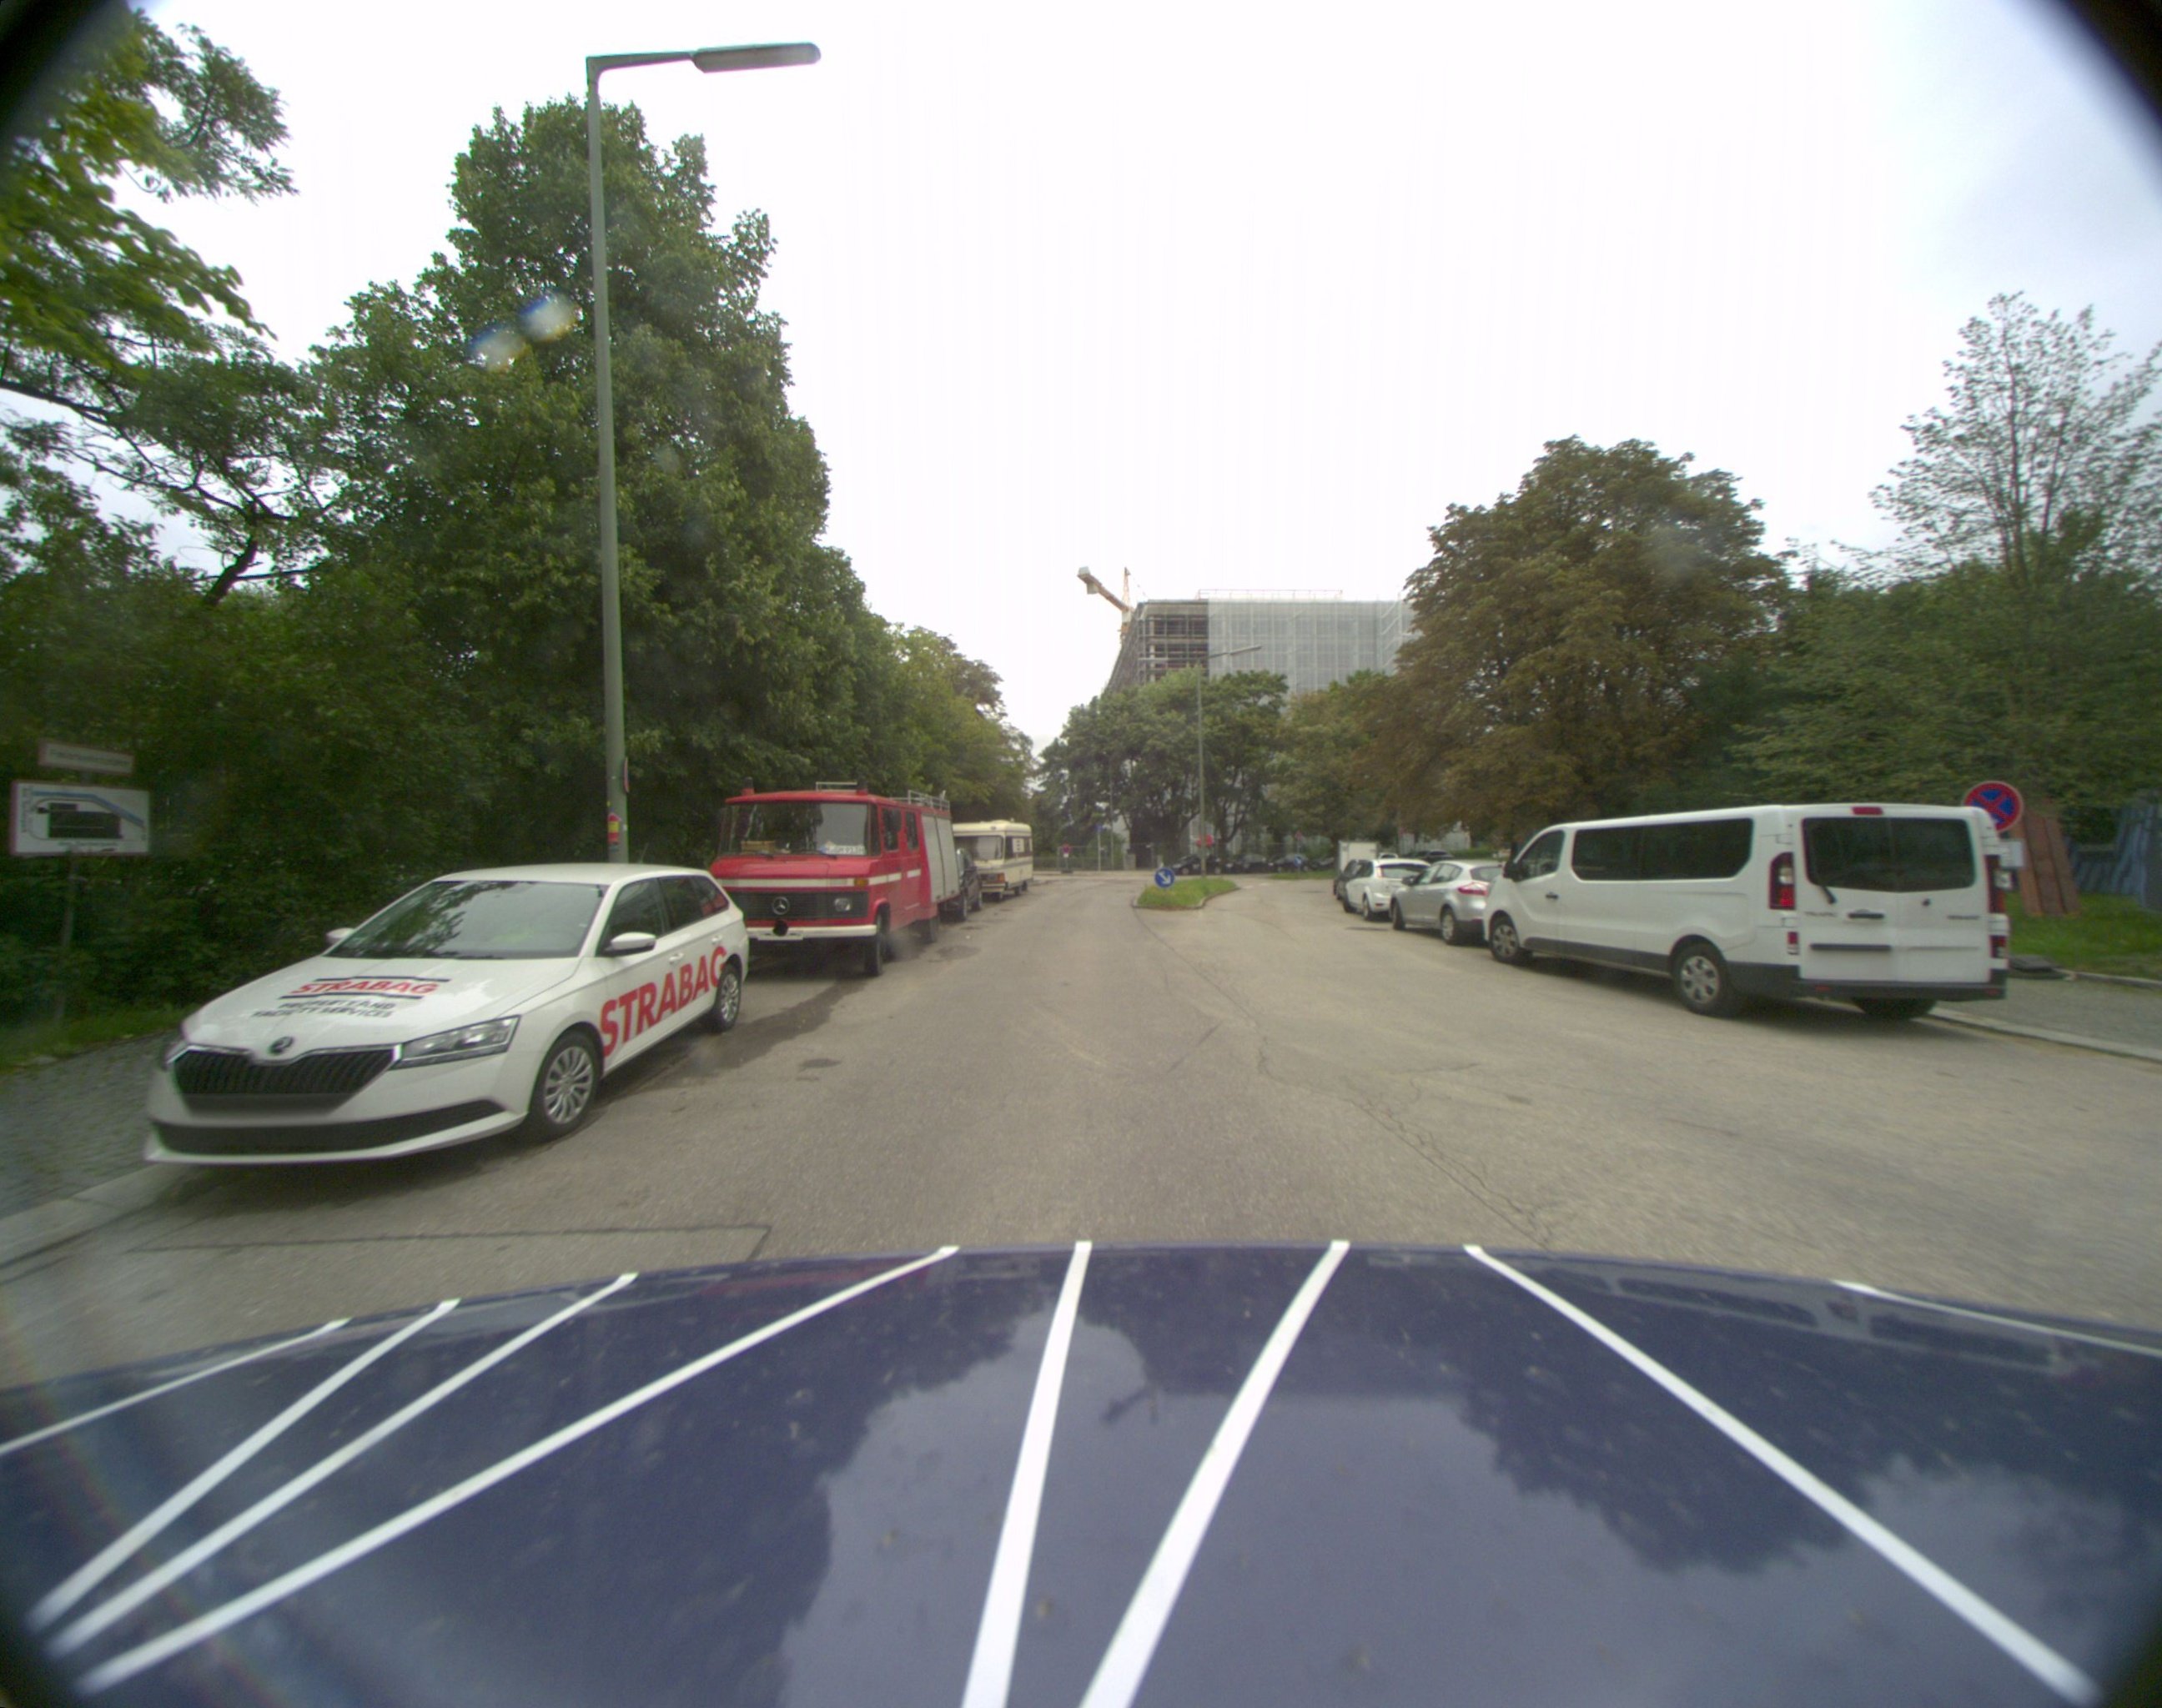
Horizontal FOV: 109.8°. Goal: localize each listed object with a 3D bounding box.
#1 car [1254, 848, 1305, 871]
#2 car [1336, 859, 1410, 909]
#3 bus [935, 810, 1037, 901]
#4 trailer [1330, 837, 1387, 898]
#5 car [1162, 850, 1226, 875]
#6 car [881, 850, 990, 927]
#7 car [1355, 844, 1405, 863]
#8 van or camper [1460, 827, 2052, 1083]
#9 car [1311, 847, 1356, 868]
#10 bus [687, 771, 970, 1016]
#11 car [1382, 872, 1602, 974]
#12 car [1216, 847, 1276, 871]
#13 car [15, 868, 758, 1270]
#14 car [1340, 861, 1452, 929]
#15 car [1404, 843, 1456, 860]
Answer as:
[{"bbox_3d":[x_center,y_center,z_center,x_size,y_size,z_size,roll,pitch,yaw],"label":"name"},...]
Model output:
[{"bbox_3d":[14.402,0.372,55.079,3.267,1.564,1.656,-1,2,-24],"label":"car"},{"bbox_3d":[9.159,0.886,24.091,1.692,1.403,3.800,1,0,14],"label":"car"},{"bbox_3d":[-3.027,0.060,25.740,2.077,2.714,5.869,-1,0,6],"label":"bus"},{"bbox_3d":[10.490,0.460,28.645,1.778,2.169,2.781,1,1,24],"label":"trailer"},{"bbox_3d":[7.550,0.524,50.620,3.892,1.564,1.785,-1,2,-25],"label":"car"},{"bbox_3d":[-3.392,0.755,18.551,1.783,1.630,4.397,-1,0,0],"label":"car"},{"bbox_3d":[23.558,-0.068,59.805,3.725,1.379,1.517,-1,2,-25],"label":"car"},{"bbox_3d":[6.773,0.824,8.860,1.994,2.022,5.587,1,0,1],"label":"van or camper"},{"bbox_3d":[19.024,0.234,57.359,2.916,1.564,1.517,-1,2,-21],"label":"car"},{"bbox_3d":[-3.351,0.463,11.829,2.077,2.789,6.273,-1,0,2],"label":"bus"},{"bbox_3d":[7.226,1.120,13.932,1.998,1.450,4.121,1,0,4],"label":"car"},{"bbox_3d":[11.491,0.347,52.930,3.893,1.564,1.785,-1,2,-30],"label":"car"},{"bbox_3d":[-3.697,0.917,5.172,1.536,1.483,4.058,-1,1,-5],"label":"car"},{"bbox_3d":[7.727,0.927,19.023,1.740,1.450,4.034,1,0,10],"label":"car"},{"bbox_3d":[28.195,-0.218,61.403,3.723,1.379,1.518,0,2,-18],"label":"car"}]
